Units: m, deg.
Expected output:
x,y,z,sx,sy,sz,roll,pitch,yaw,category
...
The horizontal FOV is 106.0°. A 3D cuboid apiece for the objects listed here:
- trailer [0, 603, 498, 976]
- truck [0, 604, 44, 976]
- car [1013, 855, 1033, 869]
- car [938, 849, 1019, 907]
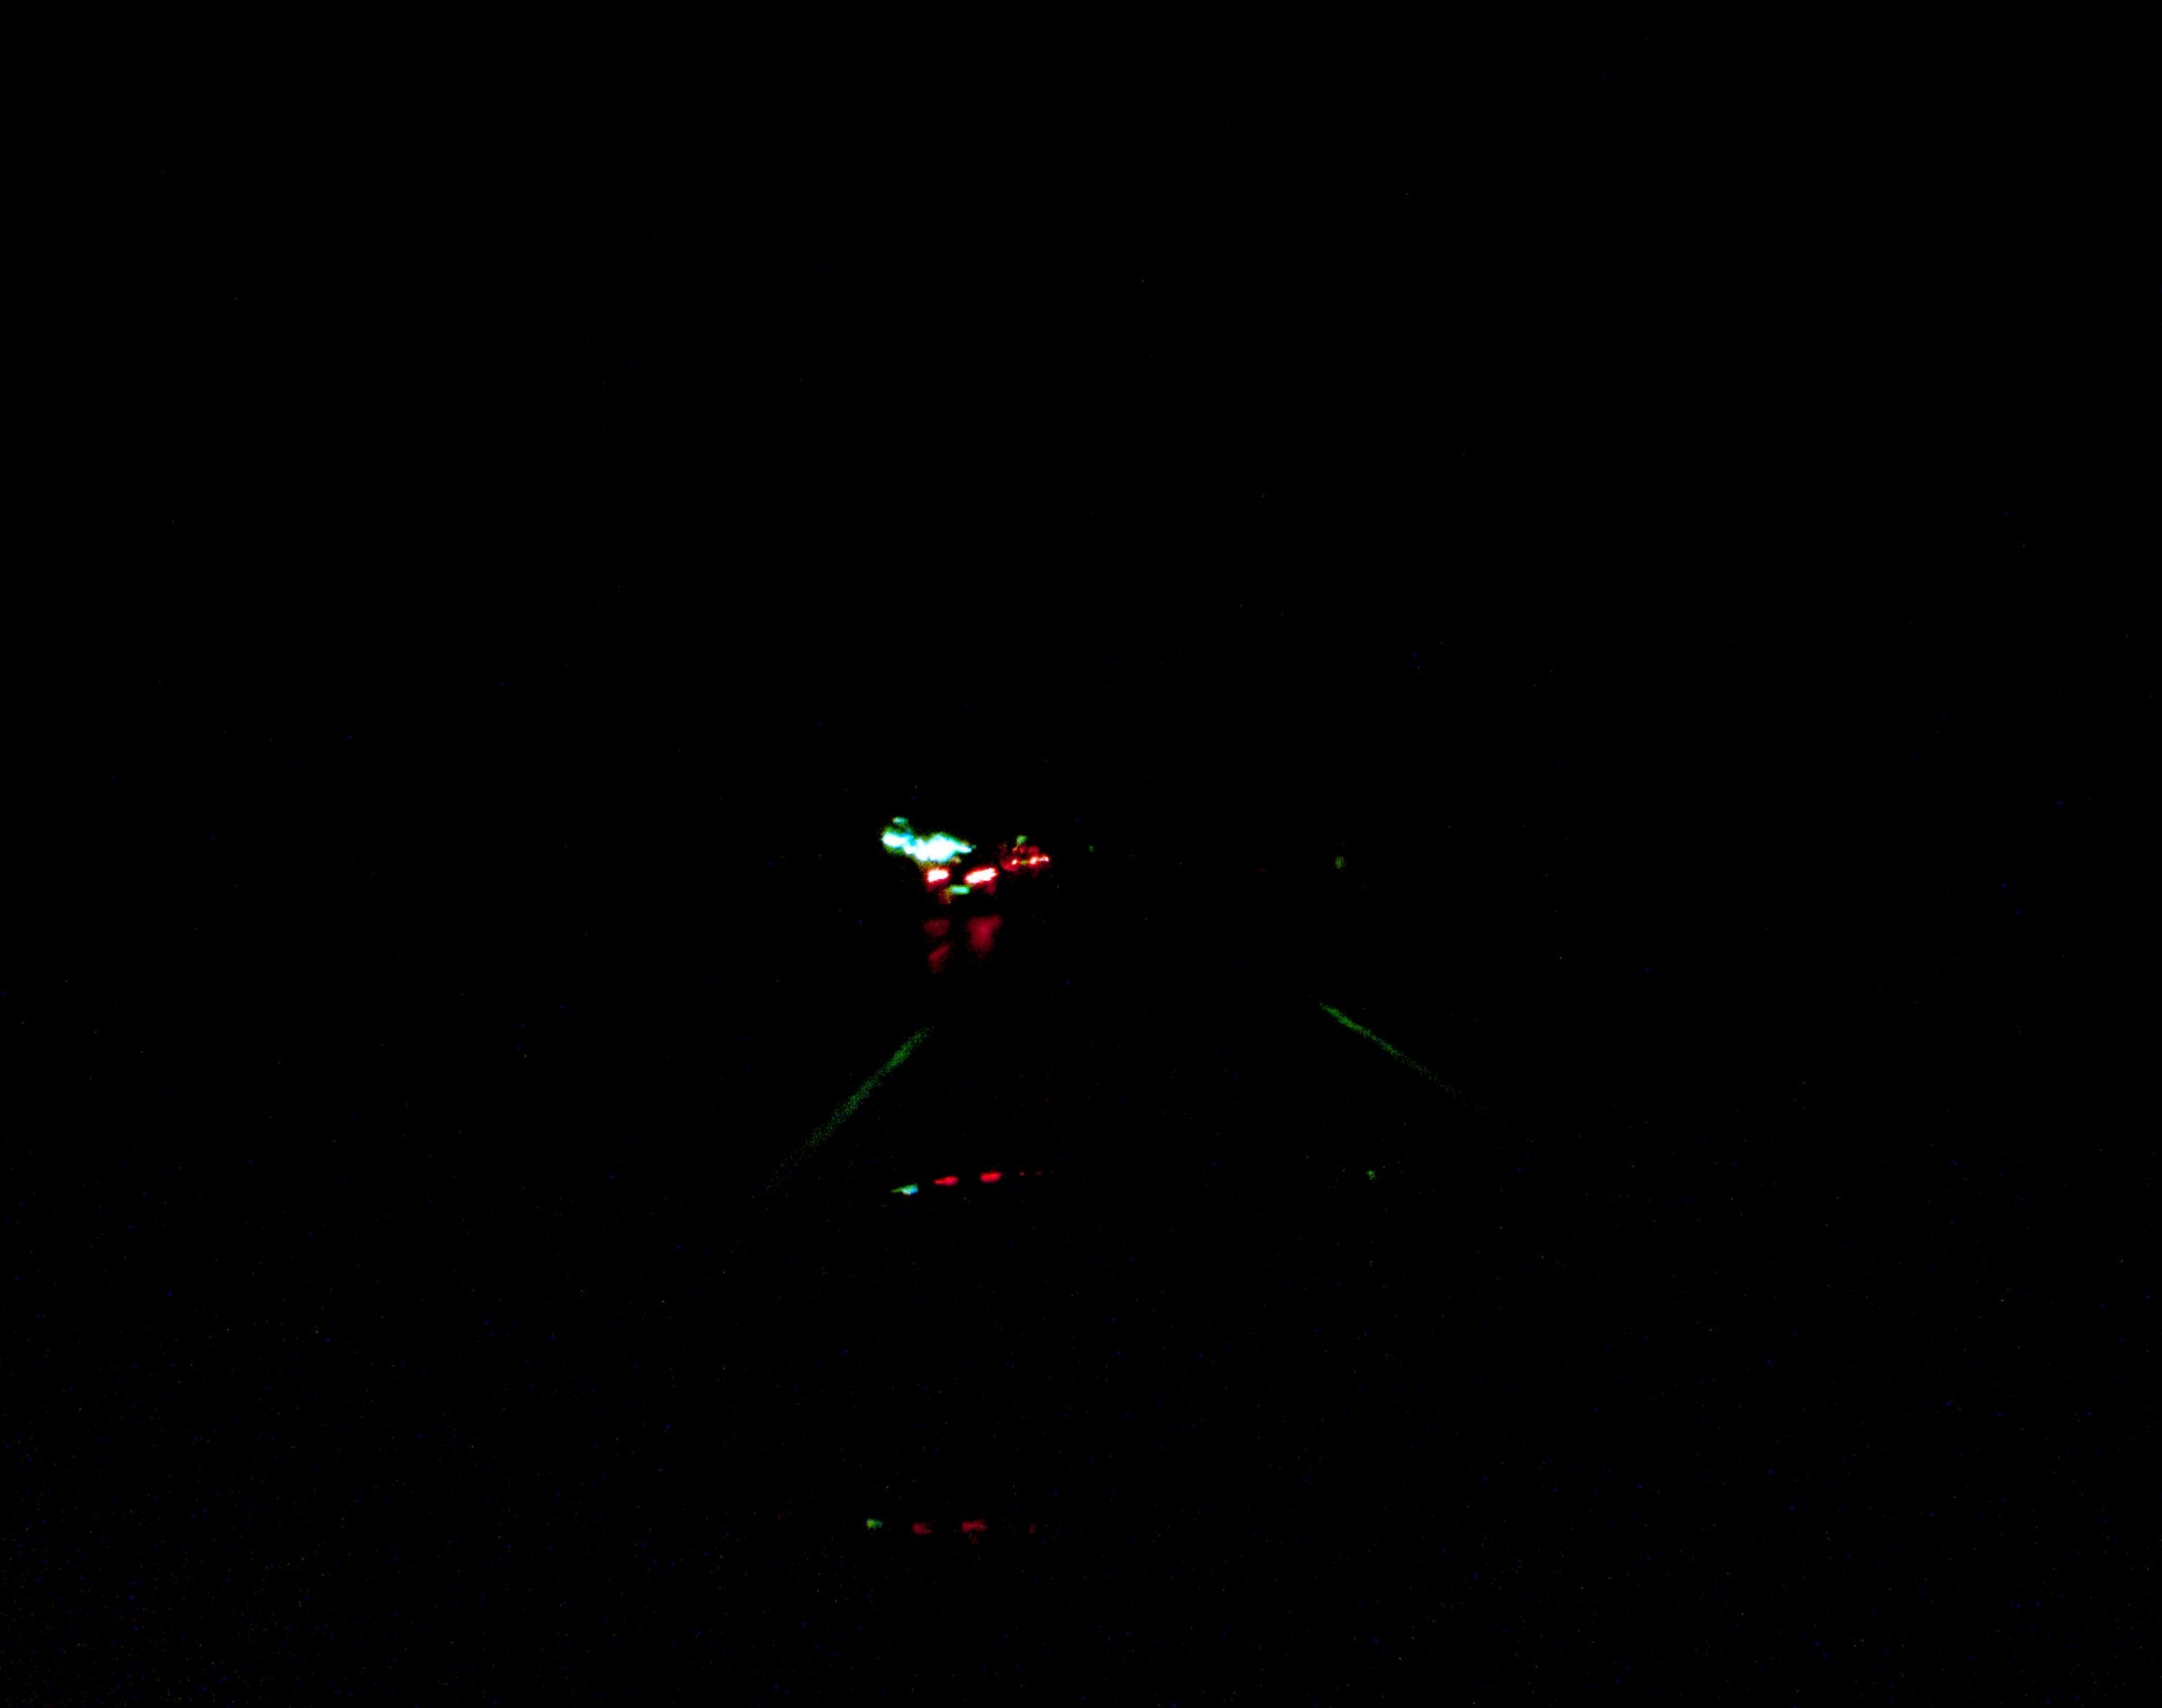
x,y,z,sx,sy,sz,roll,pitch,yaw,category
-18.573,-0.977,16.857,2.900,5.895,14.166,0,0,-1,trailer
-18.547,-1.030,9.955,2.895,5.895,6.876,0,-1,-1,truck
-5.020,0.689,70.602,1.659,1.236,3.754,0,0,-5,car
-3.042,0.674,25.073,1.852,1.540,4.749,3,0,0,car
